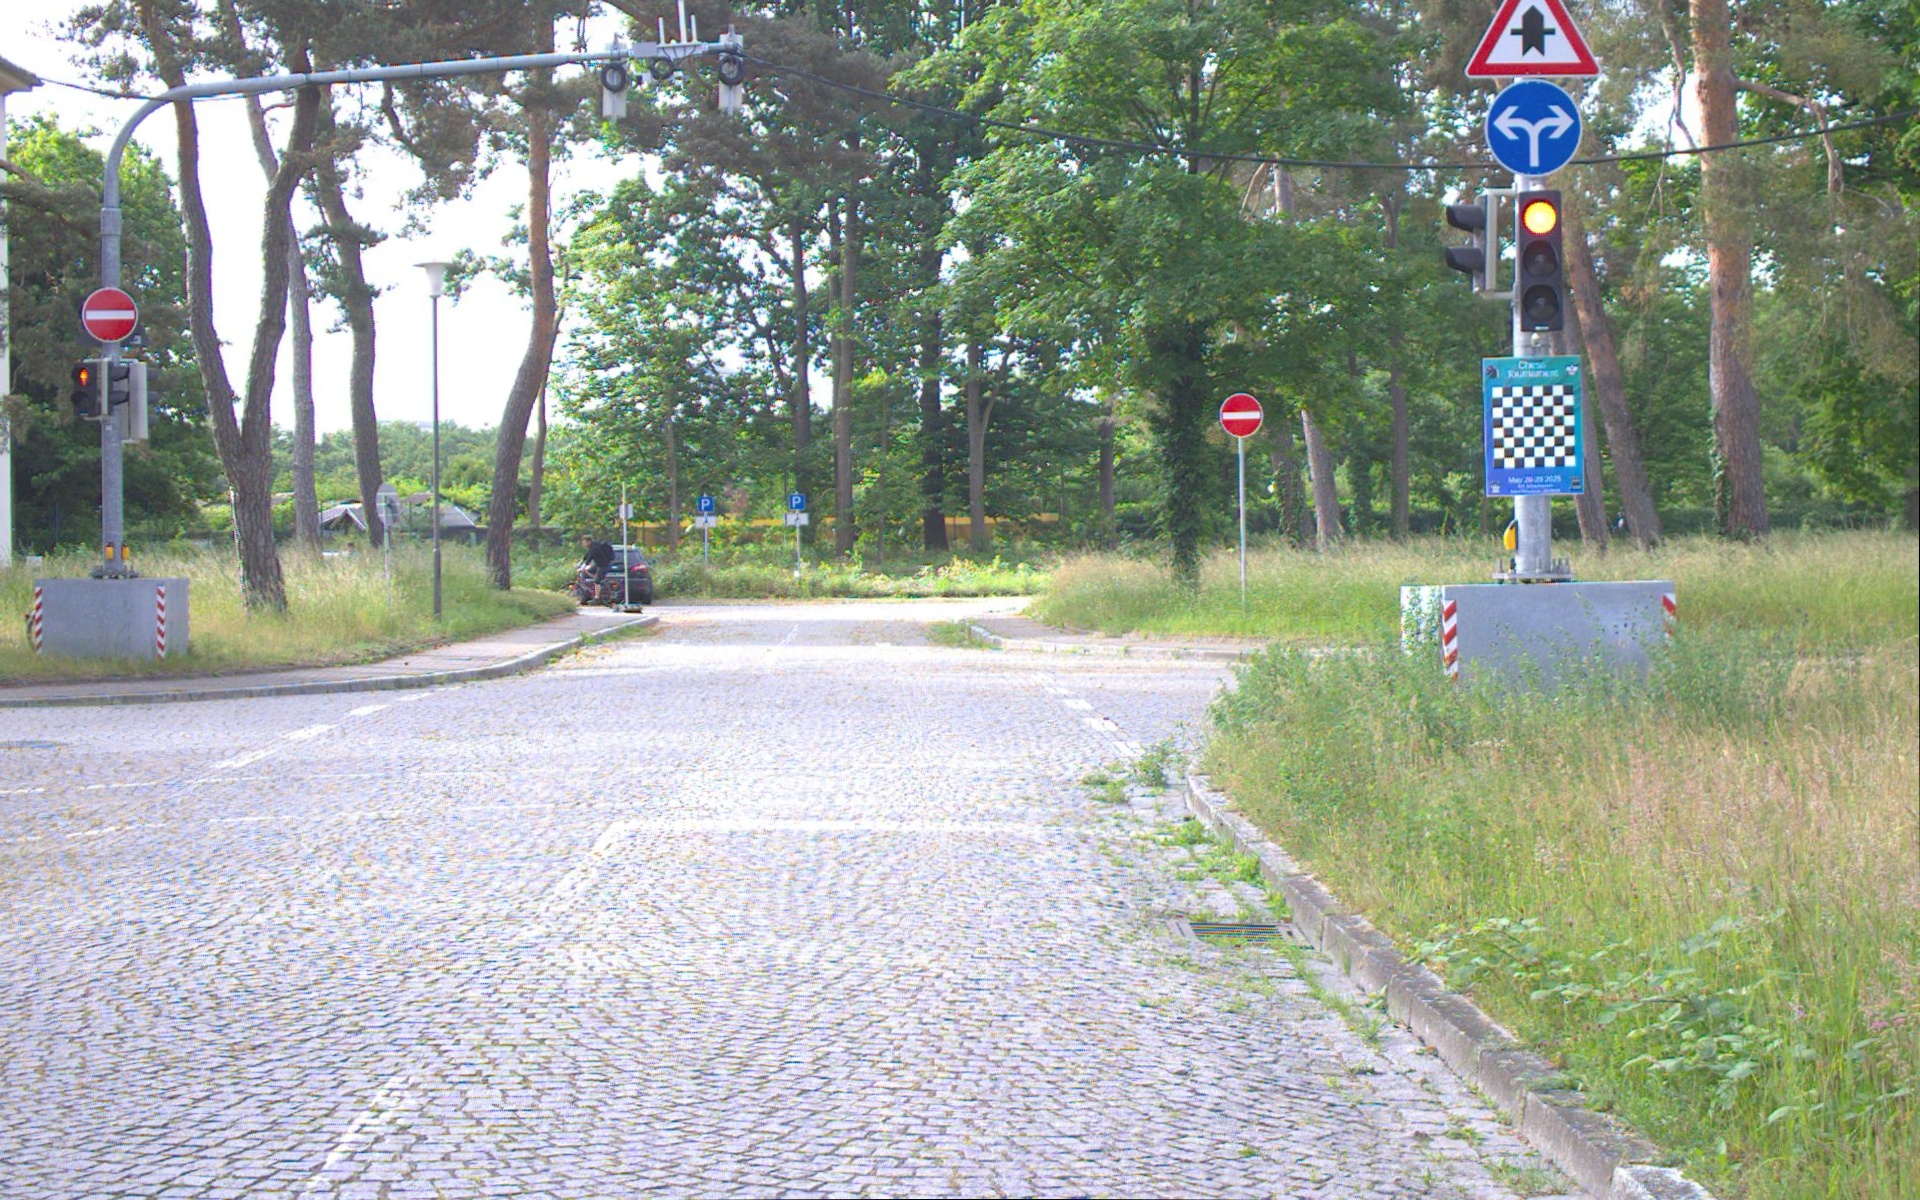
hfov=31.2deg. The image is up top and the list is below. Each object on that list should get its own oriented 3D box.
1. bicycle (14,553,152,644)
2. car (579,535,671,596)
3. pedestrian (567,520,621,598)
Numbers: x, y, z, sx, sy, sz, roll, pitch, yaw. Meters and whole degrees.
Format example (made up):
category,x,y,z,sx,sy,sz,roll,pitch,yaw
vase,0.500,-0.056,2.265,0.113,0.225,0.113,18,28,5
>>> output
category,x,y,z,sx,sy,sz,roll,pitch,yaw
bicycle,-9.894,-0.021,38.825,1.459,0.993,0.452,-1,1,-8
car,-8.632,-0.903,88.735,1.993,1.503,4.000,1,1,-1
pedestrian,-8.936,-1.006,84.023,1.211,1.884,0.747,-1,1,1
